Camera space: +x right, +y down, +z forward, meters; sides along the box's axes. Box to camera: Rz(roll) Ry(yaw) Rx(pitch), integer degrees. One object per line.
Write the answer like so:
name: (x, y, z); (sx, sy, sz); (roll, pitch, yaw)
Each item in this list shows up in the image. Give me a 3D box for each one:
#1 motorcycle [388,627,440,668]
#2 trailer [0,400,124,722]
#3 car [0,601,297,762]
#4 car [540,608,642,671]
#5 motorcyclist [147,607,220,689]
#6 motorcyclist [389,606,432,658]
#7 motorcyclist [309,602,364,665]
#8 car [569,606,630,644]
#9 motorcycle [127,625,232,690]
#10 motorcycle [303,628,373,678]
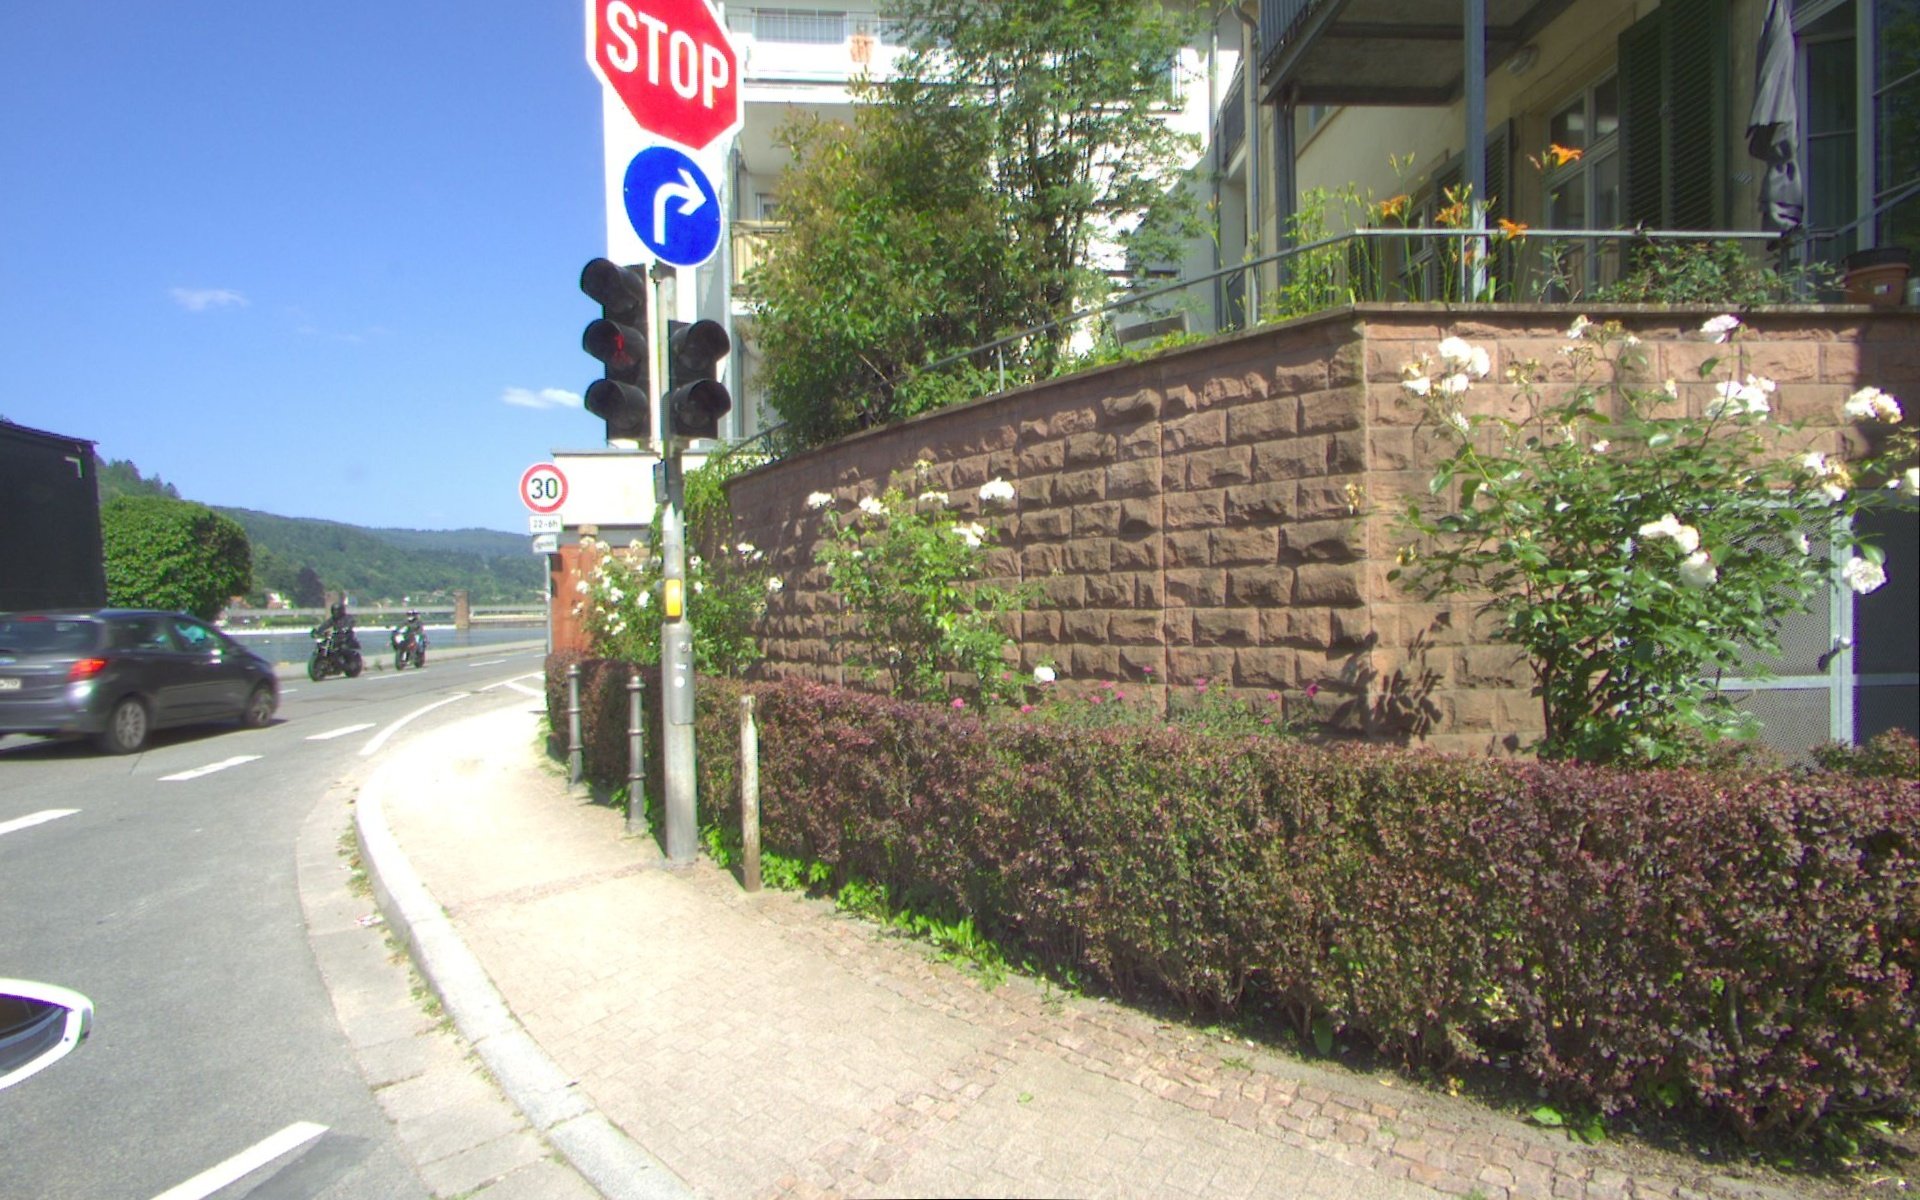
motorcycle: (-15.079, 1.295, 27.710); (0.646, 1.038, 1.814); (-1, 0, -8)
trailer: (-13.133, -0.491, 7.964); (2.788, 4.158, 13.766); (-3, 0, -7)
car: (-9.473, 0.805, 11.409); (1.695, 1.518, 3.879); (-1, 0, -9)
car: (-8.926, 0.925, 24.500); (1.661, 1.417, 3.737); (0, -1, -9)
motorcyclist: (-15.303, 0.922, 19.761); (0.653, 1.545, 0.991); (-3, 0, -8)
motorcyclist: (-15.088, 0.878, 27.525); (0.706, 1.384, 0.936); (-1, 0, -8)
motorcyclist: (-14.088, 0.746, 22.646); (0.774, 1.384, 0.800); (-1, 0, -8)
car: (-17.090, 1.168, 47.642); (1.739, 1.691, 3.773); (0, 0, -4)
motorcycle: (-15.269, 1.090, 19.659); (0.623, 1.138, 2.092); (-3, 0, -8)
motorcycle: (-14.057, 1.169, 22.681); (0.646, 1.038, 1.814); (-1, 0, -8)
